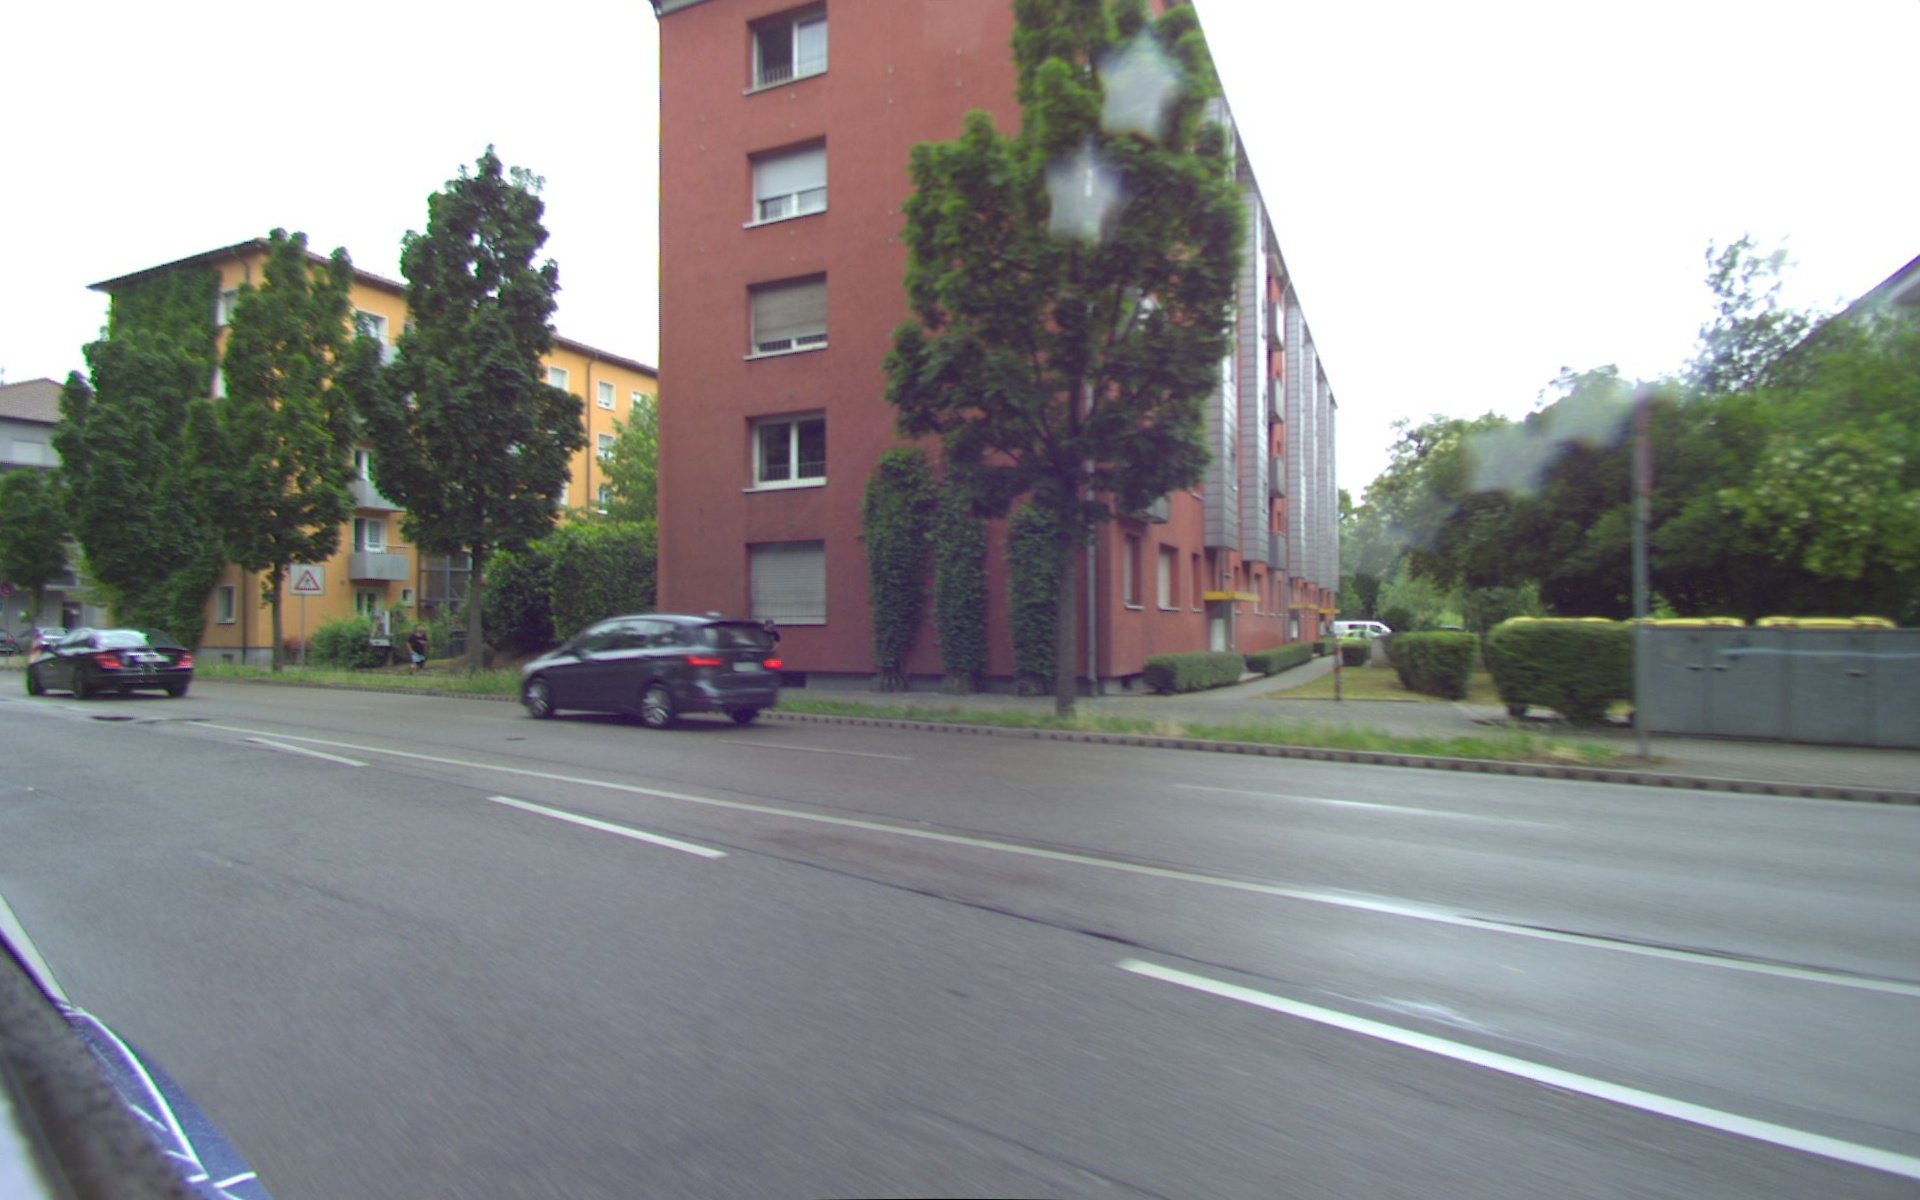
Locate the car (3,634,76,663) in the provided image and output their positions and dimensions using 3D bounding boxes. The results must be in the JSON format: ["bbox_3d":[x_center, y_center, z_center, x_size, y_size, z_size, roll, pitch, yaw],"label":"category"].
[{"bbox_3d":[-50.230,2.640,55.196,4.211,1.537,1.718,-1,-3,30],"label":"car"}]

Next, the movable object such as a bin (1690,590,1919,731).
[{"bbox_3d":[9.848,0.679,11.793,2.082,1.496,1.205,-2,-2,34],"label":"movable object such as a bin"}]

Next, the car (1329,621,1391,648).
[{"bbox_3d":[28.418,2.472,71.927,3.978,1.852,1.983,-1,-2,26],"label":"car"}]

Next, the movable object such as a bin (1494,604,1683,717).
[{"bbox_3d":[8.065,0.757,13.033,1.961,1.341,1.147,-2,-2,34],"label":"movable object such as a bin"}]

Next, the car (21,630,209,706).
[{"bbox_3d":[-17.215,1.343,20.563,4.349,1.395,1.825,-2,-4,35],"label":"car"}]

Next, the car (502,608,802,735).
[{"bbox_3d":[-4.626,1.009,14.998,4.452,1.614,1.858,-2,-4,34],"label":"car"}]

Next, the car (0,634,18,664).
[{"bbox_3d":[-51.241,2.547,52.771,4.616,1.497,1.838,-1,1,30],"label":"car"}]

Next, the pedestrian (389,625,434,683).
[{"bbox_3d":[-13.986,1.368,25.807,0.833,1.460,0.666,-2,-3,31],"label":"pedestrian"}]
